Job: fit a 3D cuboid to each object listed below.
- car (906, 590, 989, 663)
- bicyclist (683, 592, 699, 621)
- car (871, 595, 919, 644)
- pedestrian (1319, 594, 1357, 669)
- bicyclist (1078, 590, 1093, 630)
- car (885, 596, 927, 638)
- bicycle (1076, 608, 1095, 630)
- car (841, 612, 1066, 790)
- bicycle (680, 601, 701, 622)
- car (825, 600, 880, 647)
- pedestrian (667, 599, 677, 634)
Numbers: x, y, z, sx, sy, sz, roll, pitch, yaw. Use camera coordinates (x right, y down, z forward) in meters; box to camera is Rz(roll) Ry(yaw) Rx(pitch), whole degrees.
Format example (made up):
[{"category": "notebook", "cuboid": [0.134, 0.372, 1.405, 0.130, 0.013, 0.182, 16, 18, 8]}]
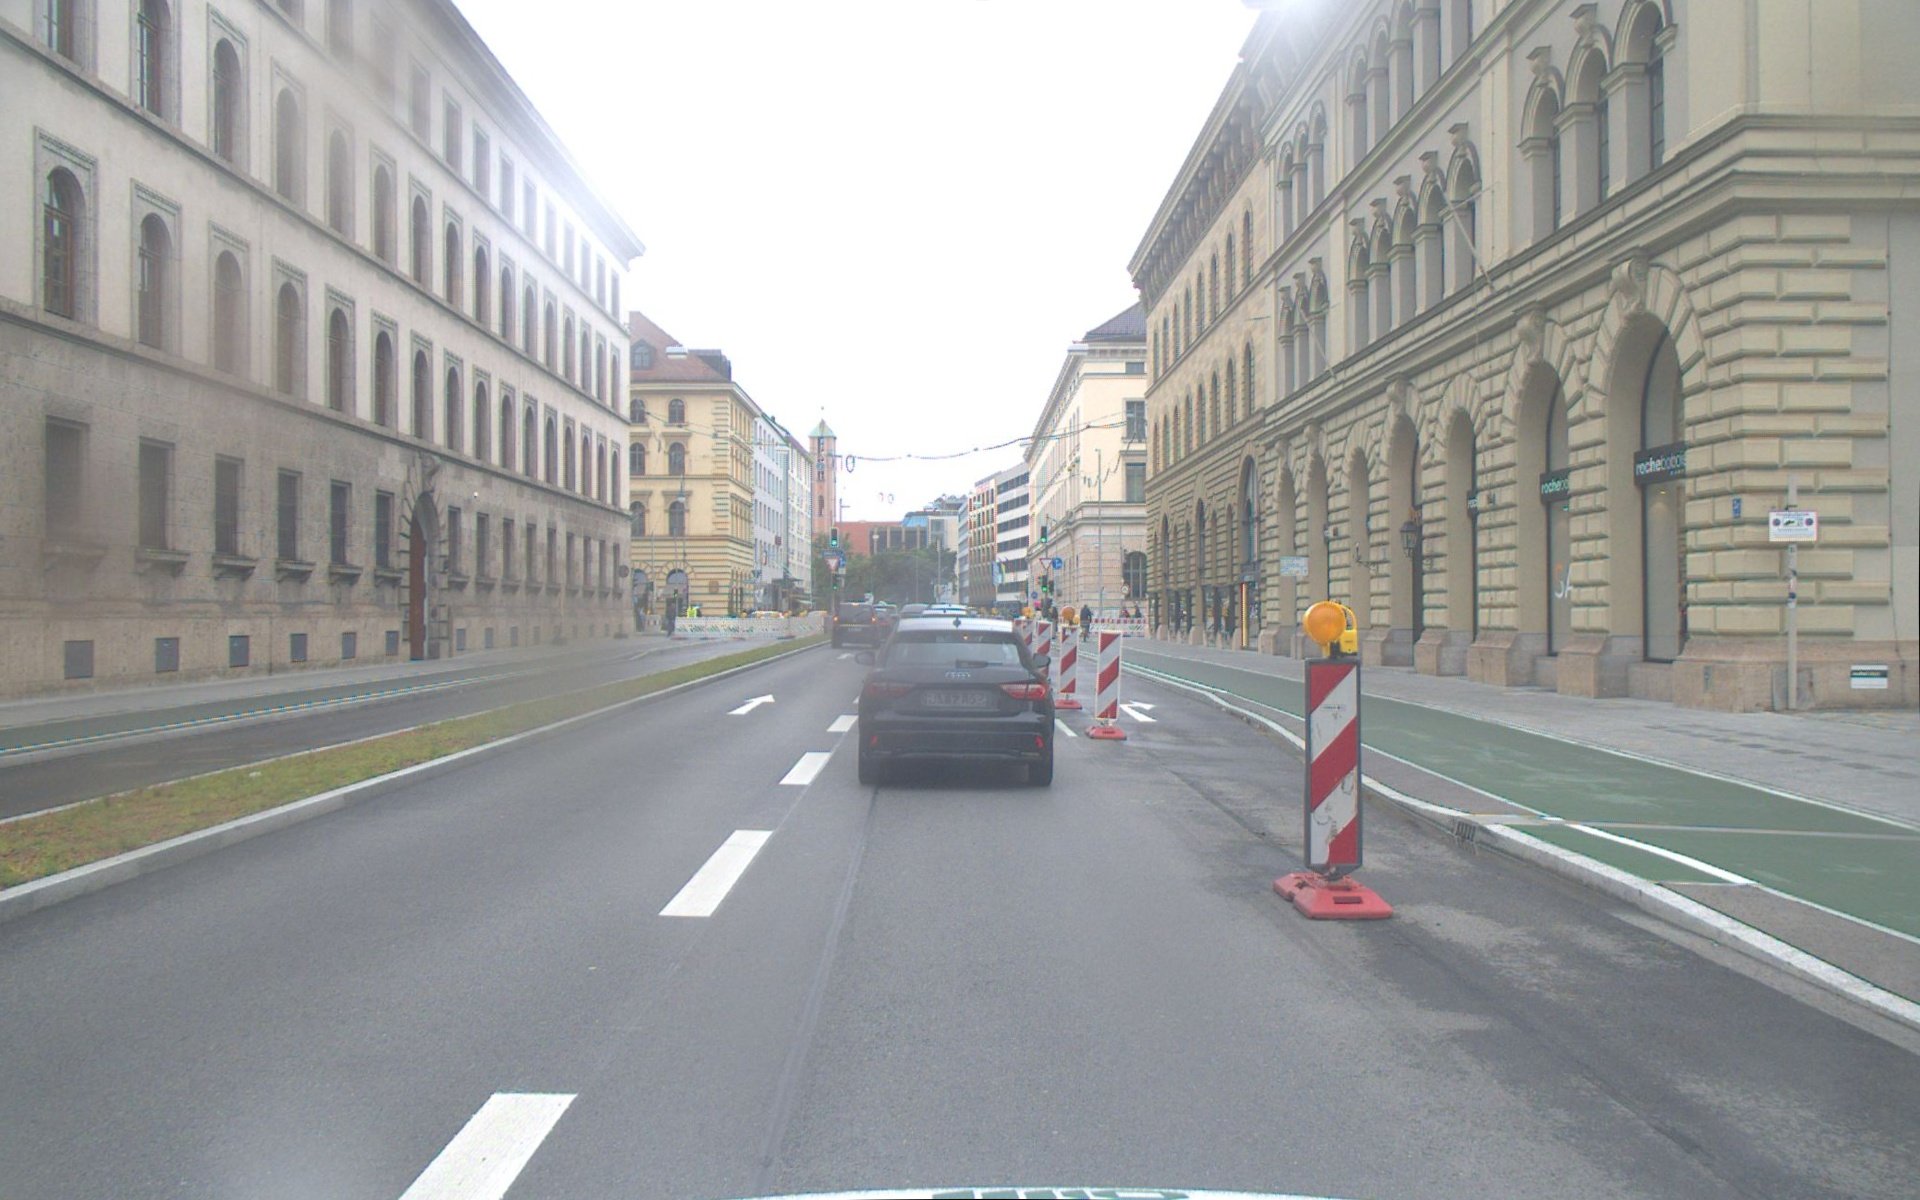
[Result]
[{"category": "car", "cuboid": [-0.353, 0.618, 39.701, 1.734, 1.645, 3.997, 1, 0, -4]}, {"category": "bicyclist", "cuboid": [-16.631, 0.415, 102.224, 0.781, 1.779, 0.689, 1, -1, 3]}, {"category": "car", "cuboid": [-2.747, 0.813, 70.758, 1.953, 2.049, 3.999, 0, 0, -1]}, {"category": "pedestrian", "cuboid": [8.951, 0.733, 39.201, 0.619, 1.734, 1.085, -1, 0, -1]}, {"category": "bicyclist", "cuboid": [5.938, 0.464, 78.419, 0.555, 1.886, 0.798, 1, -1, -7]}, {"category": "car", "cuboid": [-2.668, 0.824, 82.692, 1.953, 2.049, 3.999, 0, 0, -1]}, {"category": "bicycle", "cuboid": [5.927, 0.895, 78.437, 0.573, 1.029, 1.654, 1, 0, -7]}, {"category": "car", "cuboid": [-0.082, 0.840, 15.511, 1.825, 1.412, 3.999, 1, 0, -1]}, {"category": "bicycle", "cuboid": [-16.639, 0.686, 102.119, 0.770, 1.264, 2.450, 1, 0, 4]}, {"category": "car", "cuboid": [-3.891, 0.837, 60.310, 1.827, 1.629, 3.850, 0, 0, -1]}, {"category": "pedestrian", "cuboid": [-14.908, 0.854, 85.520, 0.503, 1.773, 1.041, 0, -1, -10]}]
